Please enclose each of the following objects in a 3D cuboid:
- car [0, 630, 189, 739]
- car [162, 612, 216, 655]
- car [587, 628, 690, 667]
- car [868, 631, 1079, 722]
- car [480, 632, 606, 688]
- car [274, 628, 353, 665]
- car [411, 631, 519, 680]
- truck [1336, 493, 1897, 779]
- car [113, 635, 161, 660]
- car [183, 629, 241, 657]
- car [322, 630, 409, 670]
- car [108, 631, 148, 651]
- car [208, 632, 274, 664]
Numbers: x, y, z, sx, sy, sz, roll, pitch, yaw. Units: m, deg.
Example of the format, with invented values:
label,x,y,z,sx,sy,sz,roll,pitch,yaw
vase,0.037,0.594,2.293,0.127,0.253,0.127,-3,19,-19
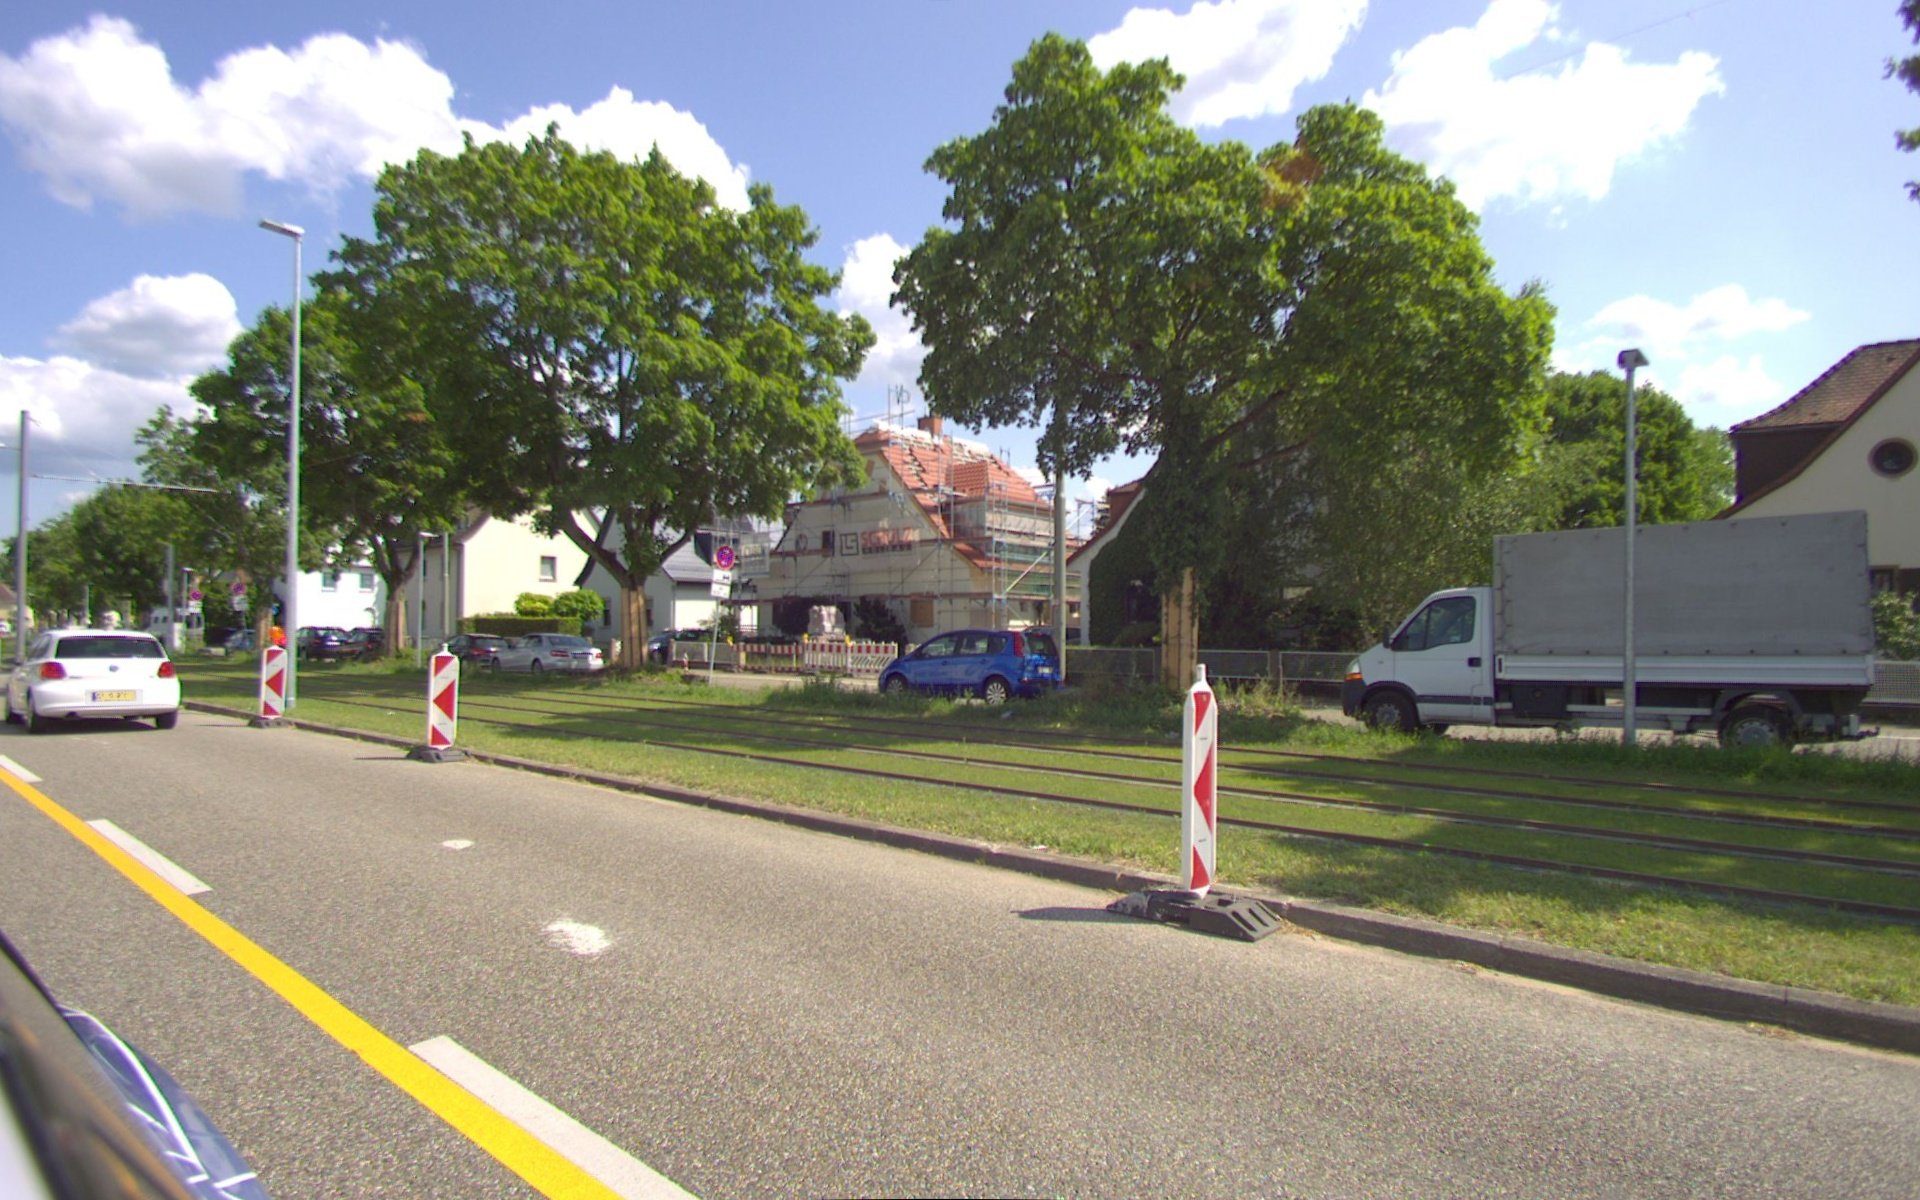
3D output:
label,x,y,z,sx,sy,sz,roll,pitch,yaw
car,-13.280,1.180,15.338,4.260,1.424,1.697,-2,-3,41
car,-48.880,2.113,64.117,4.603,2.636,1.733,-2,-3,40
car,-14.095,2.052,44.506,1.756,1.623,3.995,-2,-3,41
car,0.196,1.447,20.178,4.047,1.623,1.733,-2,-3,40
car,-13.184,1.835,31.859,4.603,1.623,1.733,-2,-3,40
car,-29.616,2.103,46.327,4.603,1.623,1.733,-2,-3,40
car,-17.626,1.919,35.929,4.603,1.623,1.733,-2,-3,40
truck,8.266,0.468,13.357,5.871,3.010,1.982,-2,-3,41
car,-57.040,3.274,70.142,4.603,1.623,1.733,-2,-3,40
car,-44.661,2.559,60.398,4.603,1.623,1.733,-2,-3,40
car,-25.196,2.079,42.824,4.603,1.623,1.733,-2,-3,40
car,-70.221,3.450,85.386,4.603,1.623,1.733,-2,-3,40
car,-37.659,2.474,52.974,4.603,1.623,1.733,-2,-3,40
